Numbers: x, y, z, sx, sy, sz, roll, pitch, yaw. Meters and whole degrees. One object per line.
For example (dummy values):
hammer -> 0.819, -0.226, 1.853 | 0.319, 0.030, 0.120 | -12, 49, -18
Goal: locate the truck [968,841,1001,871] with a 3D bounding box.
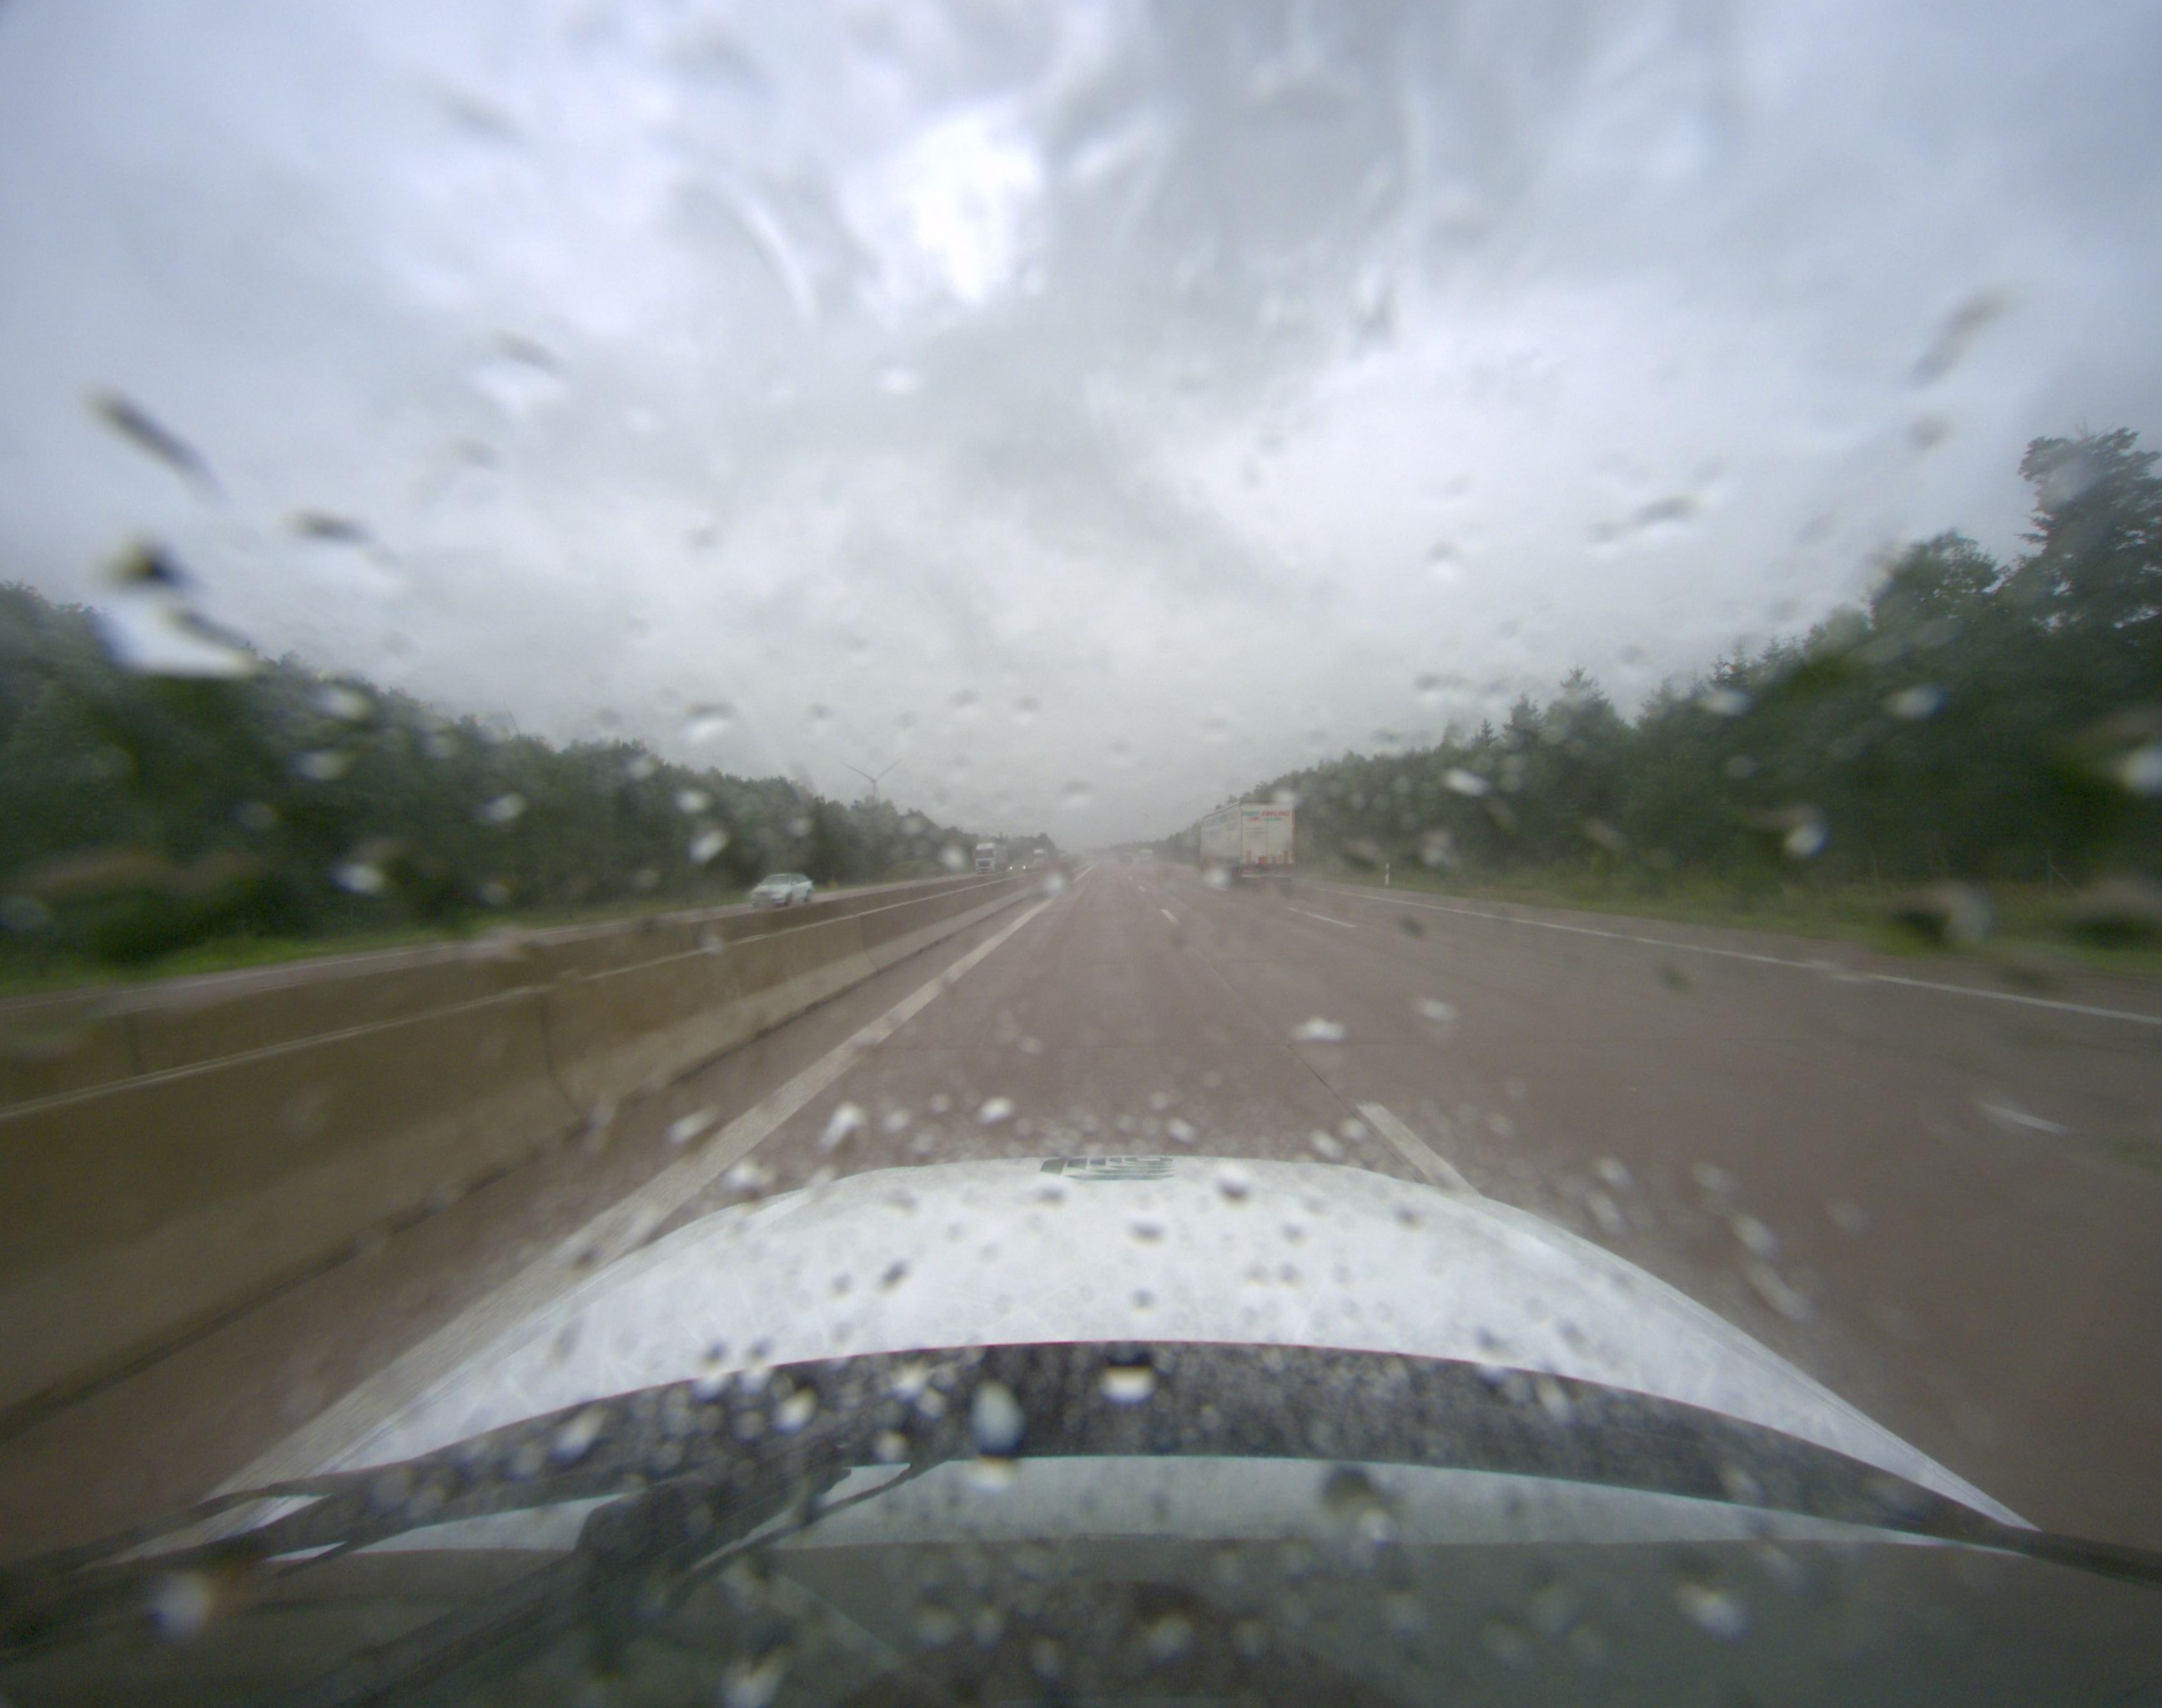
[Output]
truck -> -13.107, 0.258, 111.460 | 3.460, 3.889, 7.465 | -1, -1, 1

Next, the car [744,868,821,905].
car -> -14.158, 1.500, 38.929 | 1.747, 1.480, 4.585 | -5, 0, 2

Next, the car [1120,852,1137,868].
car -> 6.577, 0.831, 113.221 | 2.165, 1.981, 4.132 | -3, 0, 2

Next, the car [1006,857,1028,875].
car -> -6.644, 1.262, 85.237 | 1.781, 1.796, 3.879 | -3, 0, 2

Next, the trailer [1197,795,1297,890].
trailer -> 8.632, -0.570, 44.266 | 2.842, 4.231, 13.135 | -3, 0, 1

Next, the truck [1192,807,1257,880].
truck -> 8.765, -0.612, 50.518 | 2.870, 4.106, 6.351 | -3, 0, 1
